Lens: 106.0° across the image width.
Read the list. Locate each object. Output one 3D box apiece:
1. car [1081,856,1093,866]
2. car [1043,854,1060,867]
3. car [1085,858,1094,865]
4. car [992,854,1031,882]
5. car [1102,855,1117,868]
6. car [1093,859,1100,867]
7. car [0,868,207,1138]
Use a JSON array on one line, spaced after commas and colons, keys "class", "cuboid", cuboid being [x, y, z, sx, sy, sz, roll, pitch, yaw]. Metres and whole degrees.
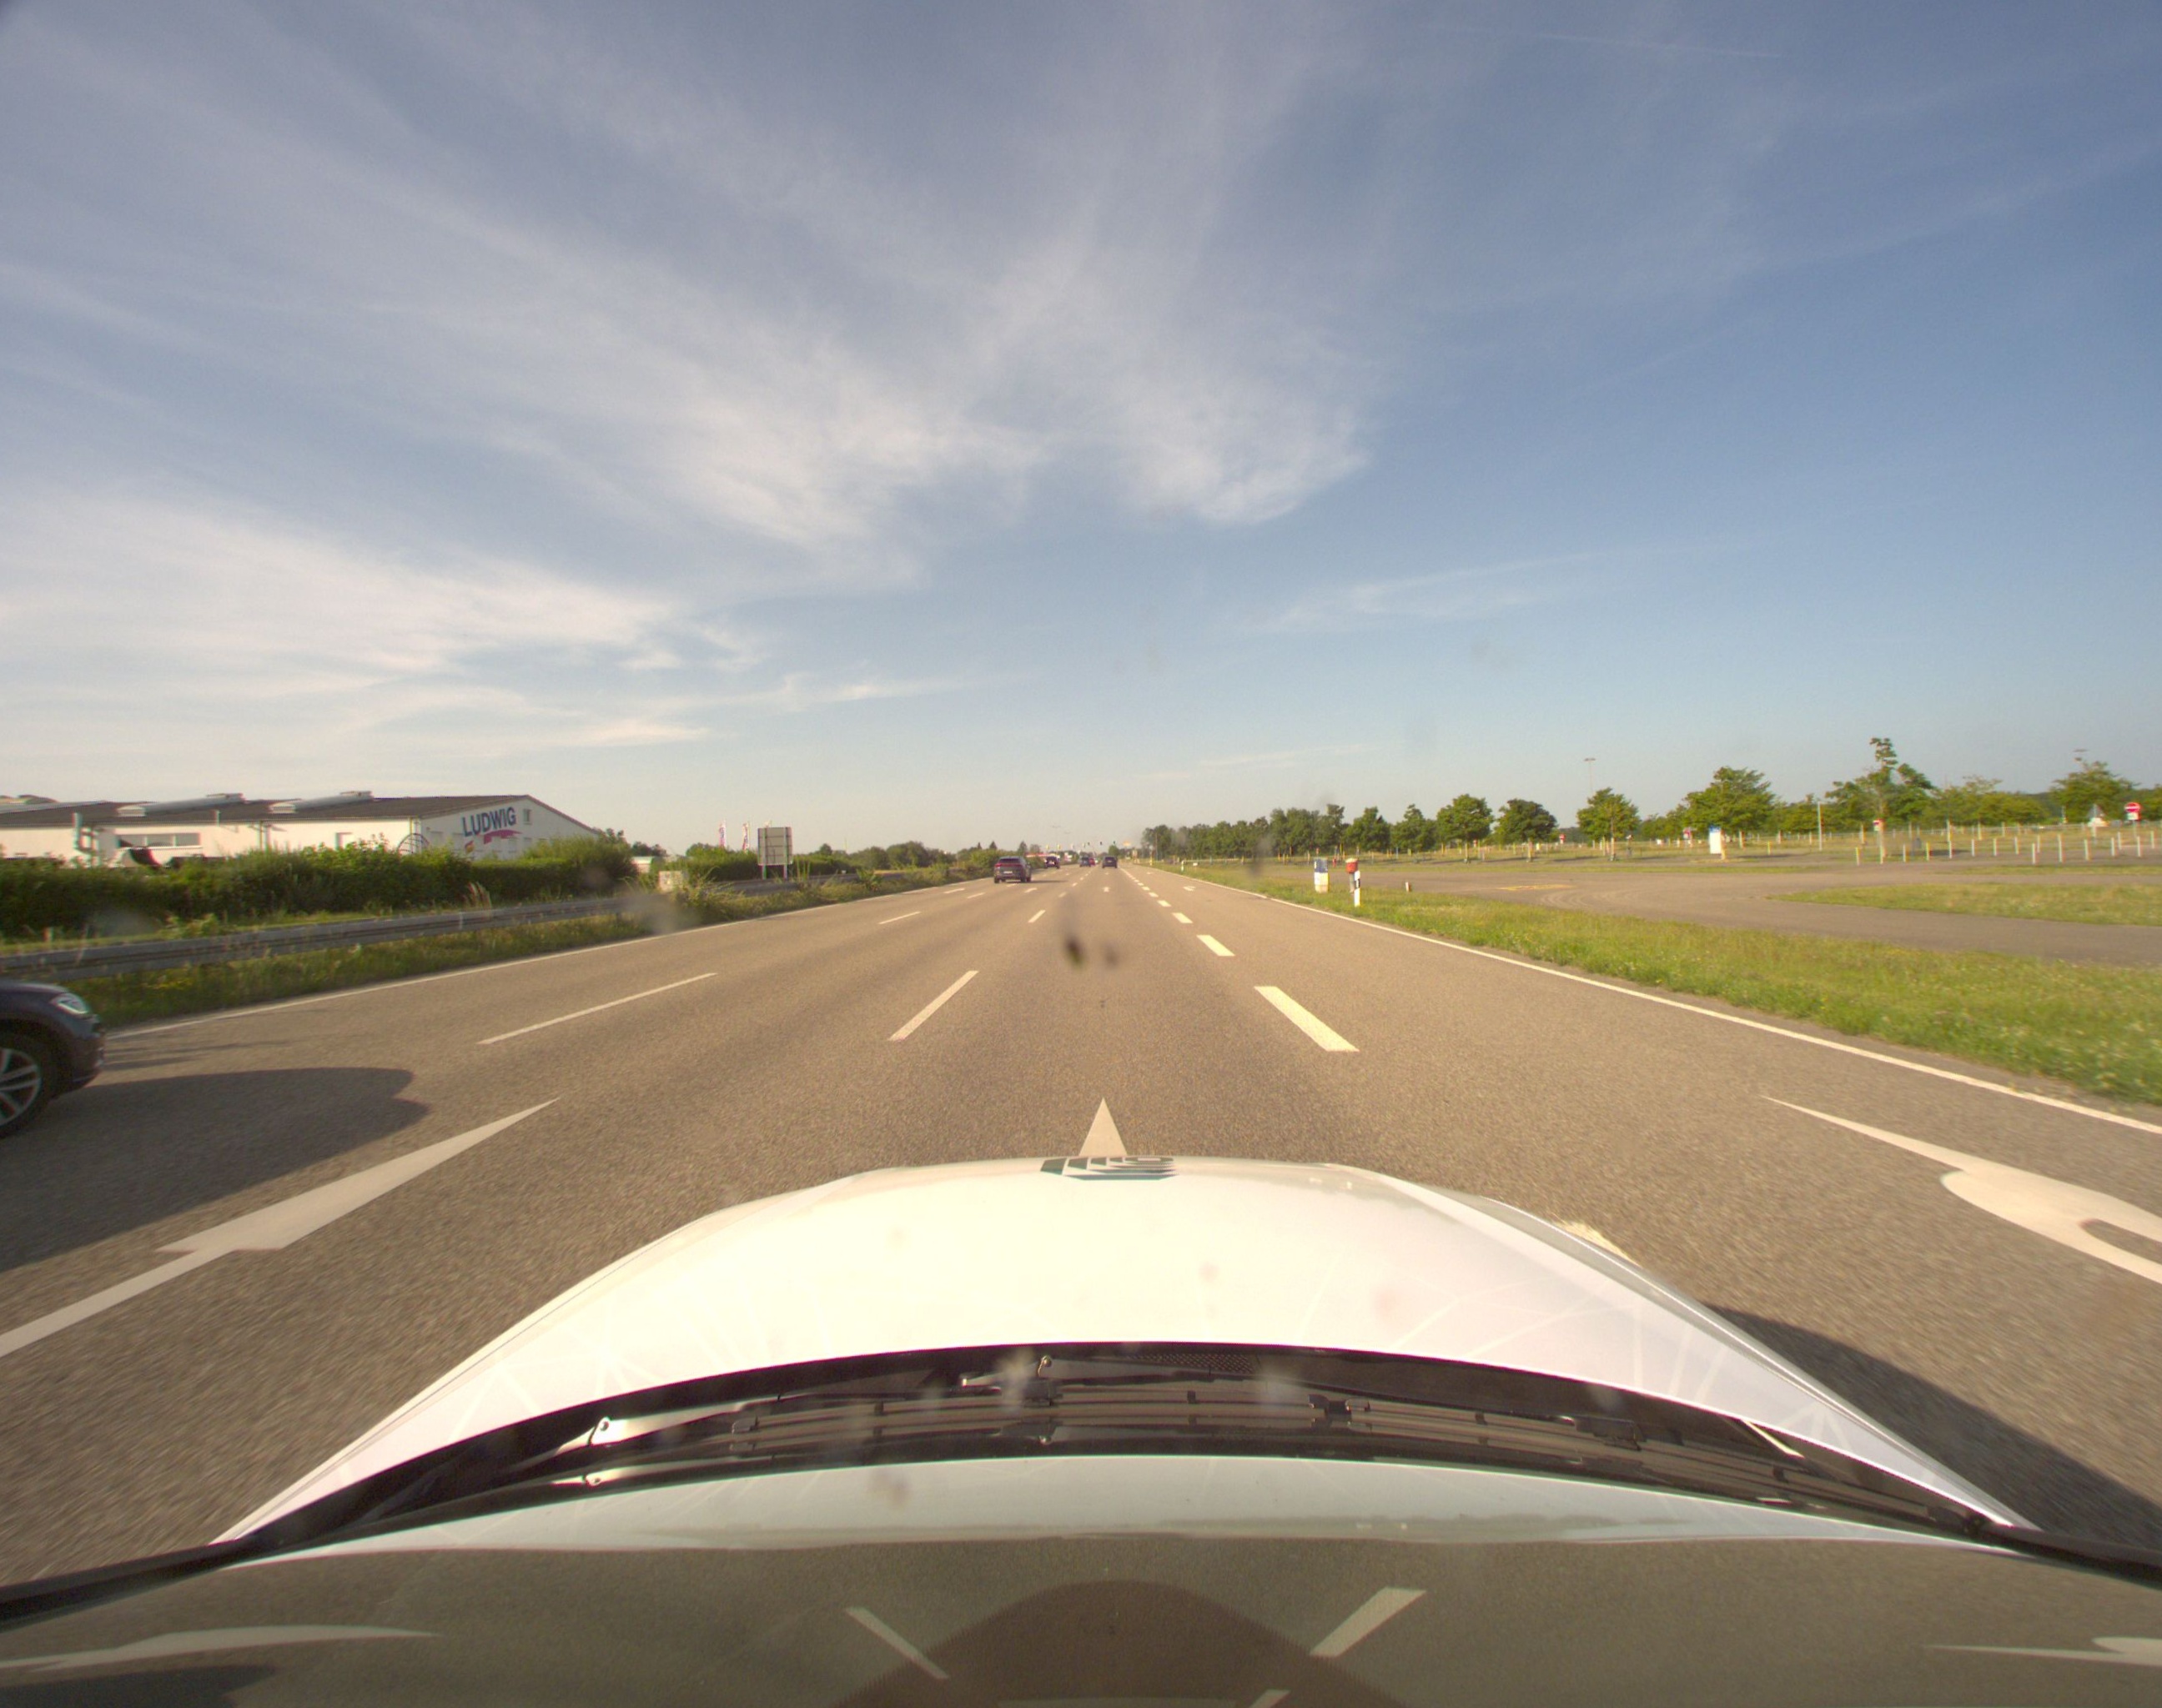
[{"class": "car", "cuboid": [0.940, 1.146, 132.293, 1.806, 1.463, 4.402, 0, 0, 2]}, {"class": "car", "cuboid": [-3.856, 0.887, 107.763, 1.925, 1.680, 4.402, 0, 0, 2]}, {"class": "car", "cuboid": [1.648, 1.428, 158.654, 1.641, 1.463, 3.982, 0, 0, 2]}, {"class": "car", "cuboid": [-4.141, 0.832, 49.118, 1.839, 1.612, 4.402, 0, 0, 2]}, {"class": "car", "cuboid": [3.784, 1.001, 107.061, 1.925, 1.680, 4.402, 0, 0, 2]}, {"class": "car", "cuboid": [3.820, 2.242, 202.641, 1.639, 1.728, 3.401, -1, -1, 1]}, {"class": "car", "cuboid": [-6.844, 0.854, 3.148, 1.640, 1.471, 4.778, -2, 0, 2]}]
